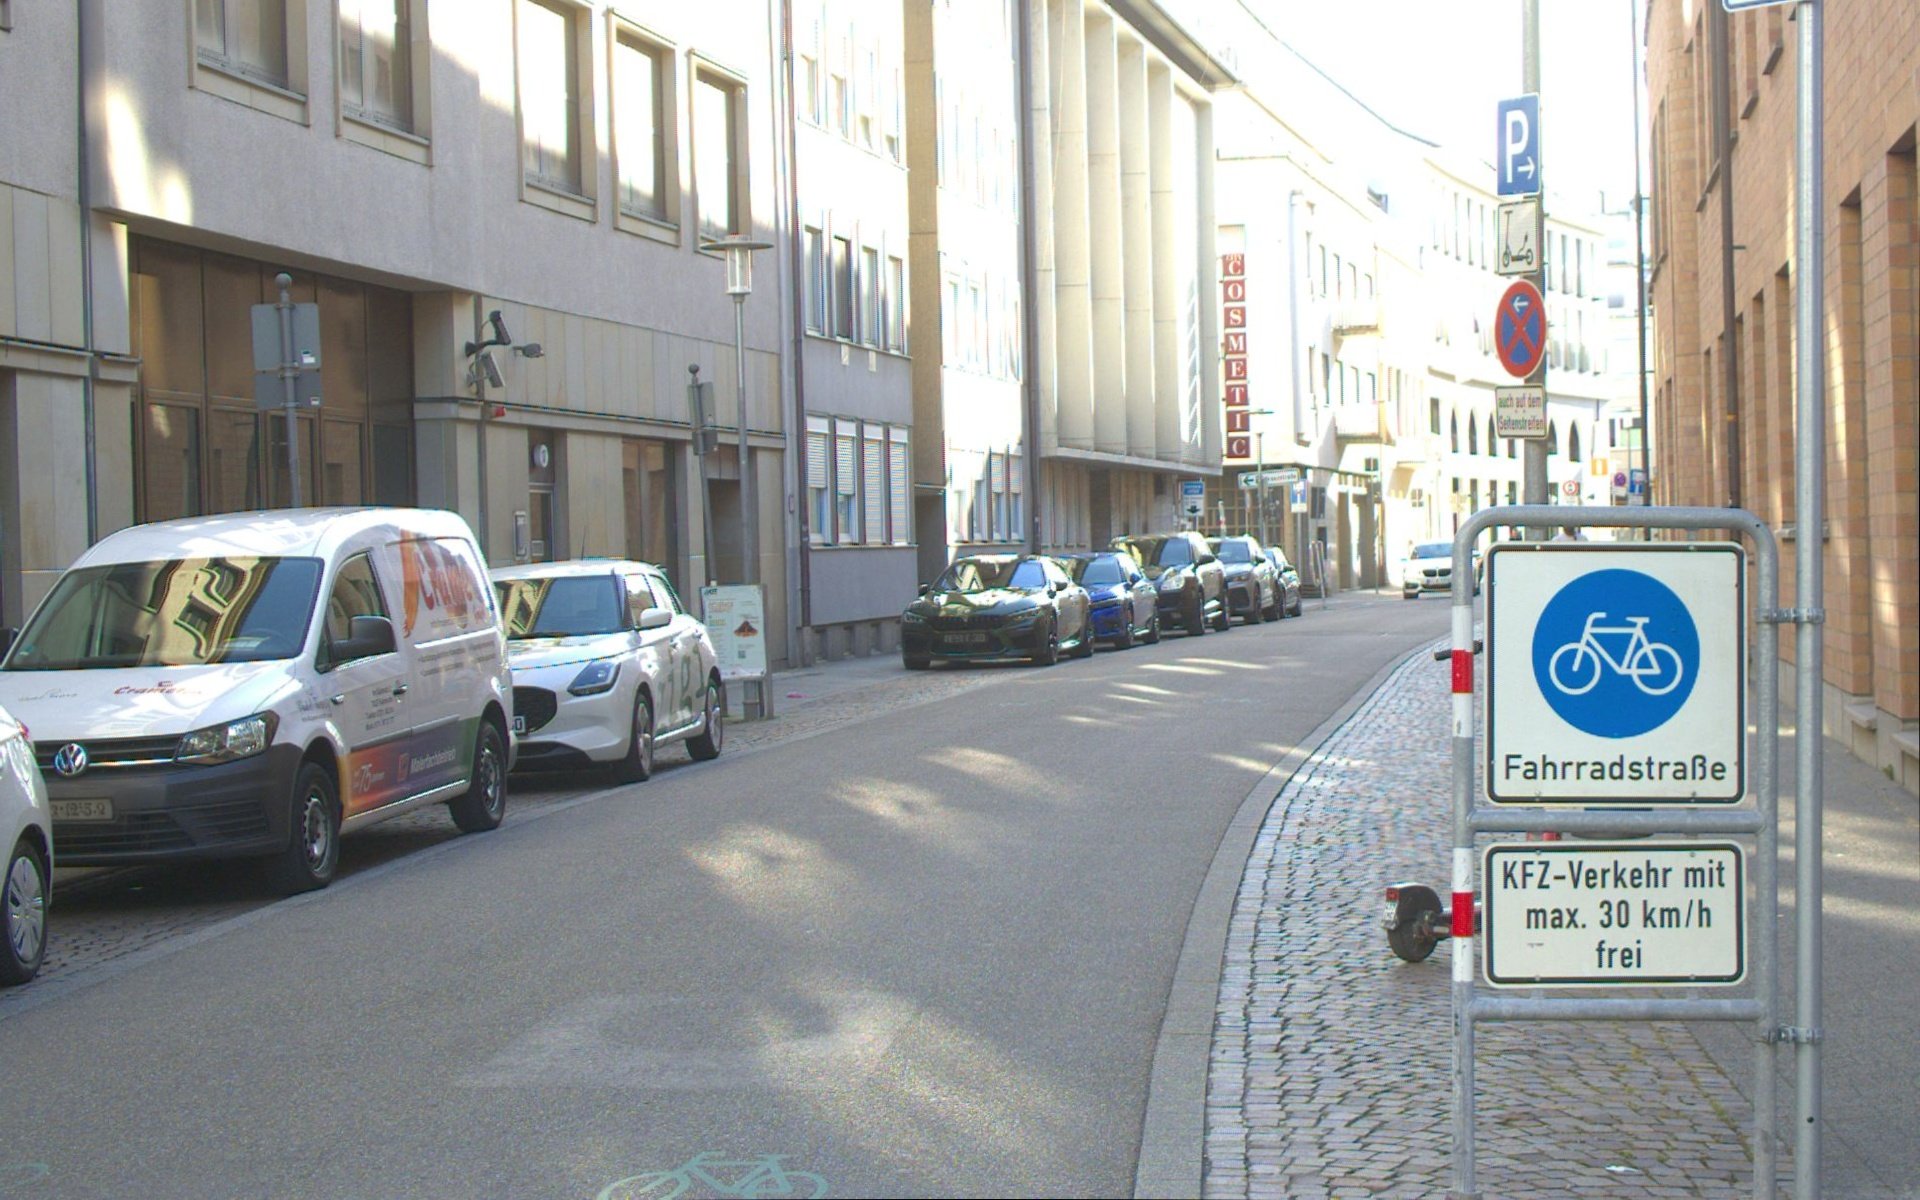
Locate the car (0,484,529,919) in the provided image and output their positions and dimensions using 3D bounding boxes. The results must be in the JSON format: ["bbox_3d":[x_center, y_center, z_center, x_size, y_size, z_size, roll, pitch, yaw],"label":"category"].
[{"bbox_3d":[-3.748,0.412,17.423,1.900,1.851,4.732,-3,1,7],"label":"car"}]

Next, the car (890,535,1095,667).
[{"bbox_3d":[0.483,-0.029,44.198,1.890,1.525,4.727,-2,1,9],"label":"car"}]

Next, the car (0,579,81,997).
[{"bbox_3d":[-4.389,0.742,11.463,1.737,1.487,3.799,-3,1,2],"label":"car"}]

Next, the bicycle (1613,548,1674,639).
[{"bbox_3d":[8.871,-0.099,44.644,0.550,1.099,1.982,-4,1,7],"label":"bicycle"}]

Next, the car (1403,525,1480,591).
[{"bbox_3d":[11.808,-1.047,84.106,1.715,1.512,4.159,-2,1,9],"label":"car"}]

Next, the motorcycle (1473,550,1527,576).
[{"bbox_3d":[18.096,-1.242,115.159,1.692,0.856,0.594,1,0,18],"label":"motorcycle"}]

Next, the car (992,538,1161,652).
[{"bbox_3d":[1.755,-0.105,50.345,1.890,1.525,4.338,-2,1,9],"label":"car"}]

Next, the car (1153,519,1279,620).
[{"bbox_3d":[4.760,-0.590,63.445,1.890,1.736,4.389,-2,1,9],"label":"car"}]

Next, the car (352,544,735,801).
[{"bbox_3d":[-2.773,0.433,23.685,1.670,1.517,3.775,-4,1,7],"label":"car"}]

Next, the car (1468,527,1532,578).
[{"bbox_3d":[16.922,-1.495,107.553,1.640,1.512,4.158,-2,1,13],"label":"car"}]

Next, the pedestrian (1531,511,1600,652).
[{"bbox_3d":[7.614,-0.238,43.276,0.760,1.710,0.821,-3,1,9],"label":"pedestrian"}]

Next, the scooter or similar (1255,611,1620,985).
[{"bbox_3d":[1.745,0.679,12.443,1.415,1.231,0.538,-2,2,-43],"label":"scooter or similar"}]

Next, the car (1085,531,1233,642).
[{"bbox_3d":[3.300,-0.253,56.208,1.890,1.670,4.552,-2,1,9],"label":"car"}]
